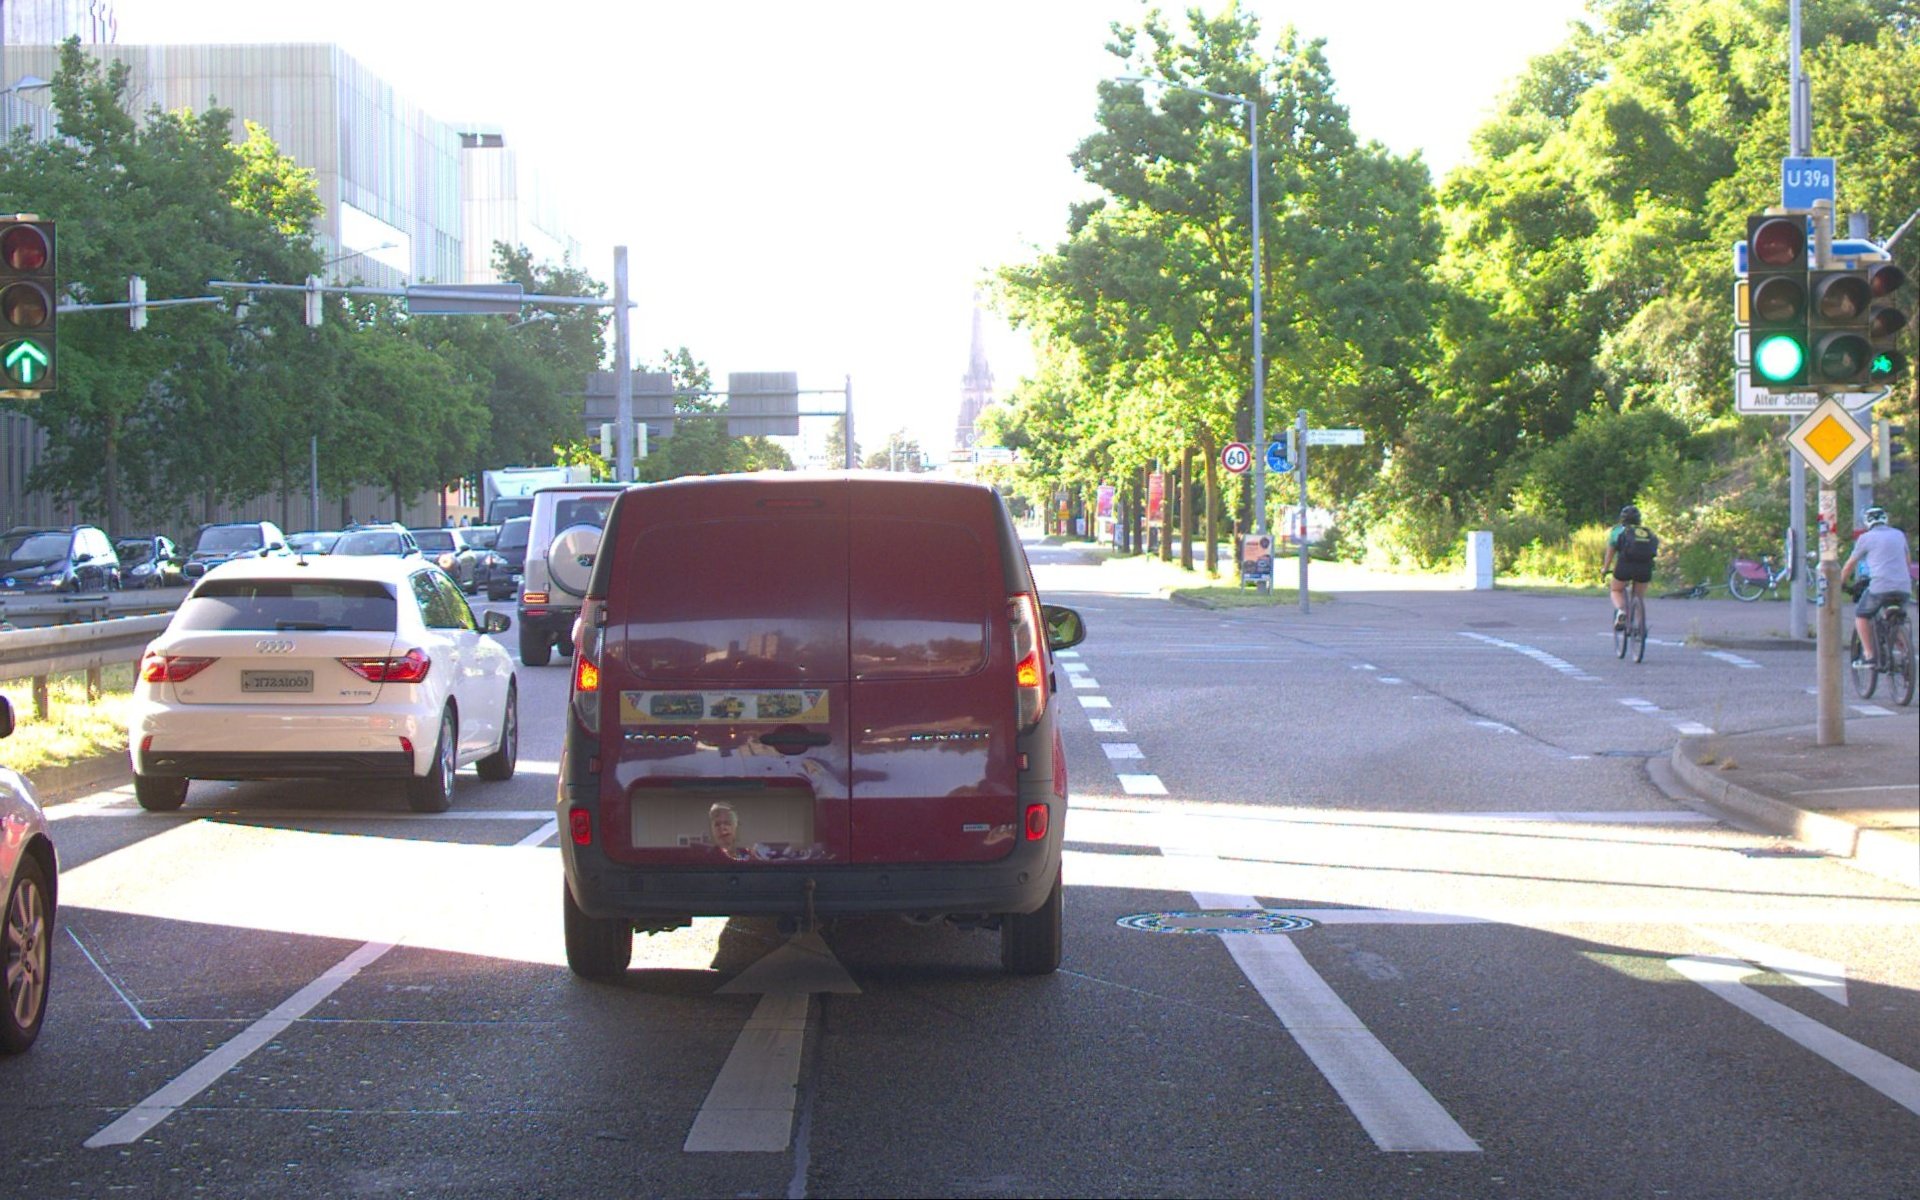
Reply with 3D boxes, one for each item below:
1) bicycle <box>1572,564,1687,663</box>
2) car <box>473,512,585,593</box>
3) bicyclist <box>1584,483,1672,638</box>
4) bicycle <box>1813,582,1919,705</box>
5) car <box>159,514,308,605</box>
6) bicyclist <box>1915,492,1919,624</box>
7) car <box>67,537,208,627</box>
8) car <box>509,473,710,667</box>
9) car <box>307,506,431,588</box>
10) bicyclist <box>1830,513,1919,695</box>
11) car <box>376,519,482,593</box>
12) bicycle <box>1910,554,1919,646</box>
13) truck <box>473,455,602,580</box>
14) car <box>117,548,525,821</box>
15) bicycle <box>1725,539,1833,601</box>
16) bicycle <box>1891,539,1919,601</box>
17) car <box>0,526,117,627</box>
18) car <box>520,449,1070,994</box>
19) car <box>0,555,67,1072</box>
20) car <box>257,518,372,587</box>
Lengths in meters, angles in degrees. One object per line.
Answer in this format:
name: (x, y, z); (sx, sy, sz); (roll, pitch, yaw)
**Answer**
bicycle: (7.057, 0.138, 36.300); (0.591, 1.020, 1.751); (1, 0, -10)
car: (-8.283, -0.922, 66.260); (1.636, 1.438, 3.719); (-3, 1, 0)
bicyclist: (7.047, -0.412, 36.297); (0.591, 1.608, 0.942); (1, 0, -10)
bicycle: (7.984, 0.367, 29.528); (0.591, 1.020, 1.751); (1, 0, -10)
car: (-13.908, -0.787, 66.047); (1.825, 1.620, 4.529); (-3, 1, 0)
bicyclist: (11.037, -0.460, 38.367); (0.665, 1.469, 0.751); (0, 0, 11)
car: (-17.090, -0.394, 71.630); (1.824, 1.731, 4.529); (-3, 1, -1)
car: (-3.790, -0.304, 37.848); (1.801, 1.982, 4.589); (1, 0, -1)
car: (-11.339, -1.022, 66.181); (1.636, 1.438, 4.077); (-3, 1, 0)
bicyclist: (7.956, 0.035, 29.680); (0.591, 1.543, 0.769); (1, 0, -10)
car: (-11.061, -0.919, 71.792); (1.636, 1.438, 4.077); (-3, 1, -2)
bicycle: (11.038, 0.004, 38.383); (0.672, 1.020, 2.054); (1, 0, 11)
truck: (-10.984, -2.126, 89.860); (2.409, 3.016, 6.657); (-3, 1, 0)
car: (-3.639, 0.422, 20.176); (1.813, 1.433, 3.731); (0, 1, -2)
bicycle: (13.929, -0.508, 58.505); (1.745, 1.020, 0.593); (1, 0, 8)
bicycle: (16.385, -0.487, 57.044); (1.745, 1.020, 0.593); (1, 0, 8)
car: (-16.912, -0.435, 62.880); (1.824, 1.731, 4.629); (-3, 1, -1)
car: (-0.579, 0.407, 13.382); (1.805, 1.788, 4.000); (1, 0, -1)
car: (-3.557, 0.620, 8.491); (1.733, 1.475, 4.319); (0, 0, -2)
car: (-14.012, -1.042, 74.787); (1.646, 1.399, 3.978); (-3, 1, 1)
